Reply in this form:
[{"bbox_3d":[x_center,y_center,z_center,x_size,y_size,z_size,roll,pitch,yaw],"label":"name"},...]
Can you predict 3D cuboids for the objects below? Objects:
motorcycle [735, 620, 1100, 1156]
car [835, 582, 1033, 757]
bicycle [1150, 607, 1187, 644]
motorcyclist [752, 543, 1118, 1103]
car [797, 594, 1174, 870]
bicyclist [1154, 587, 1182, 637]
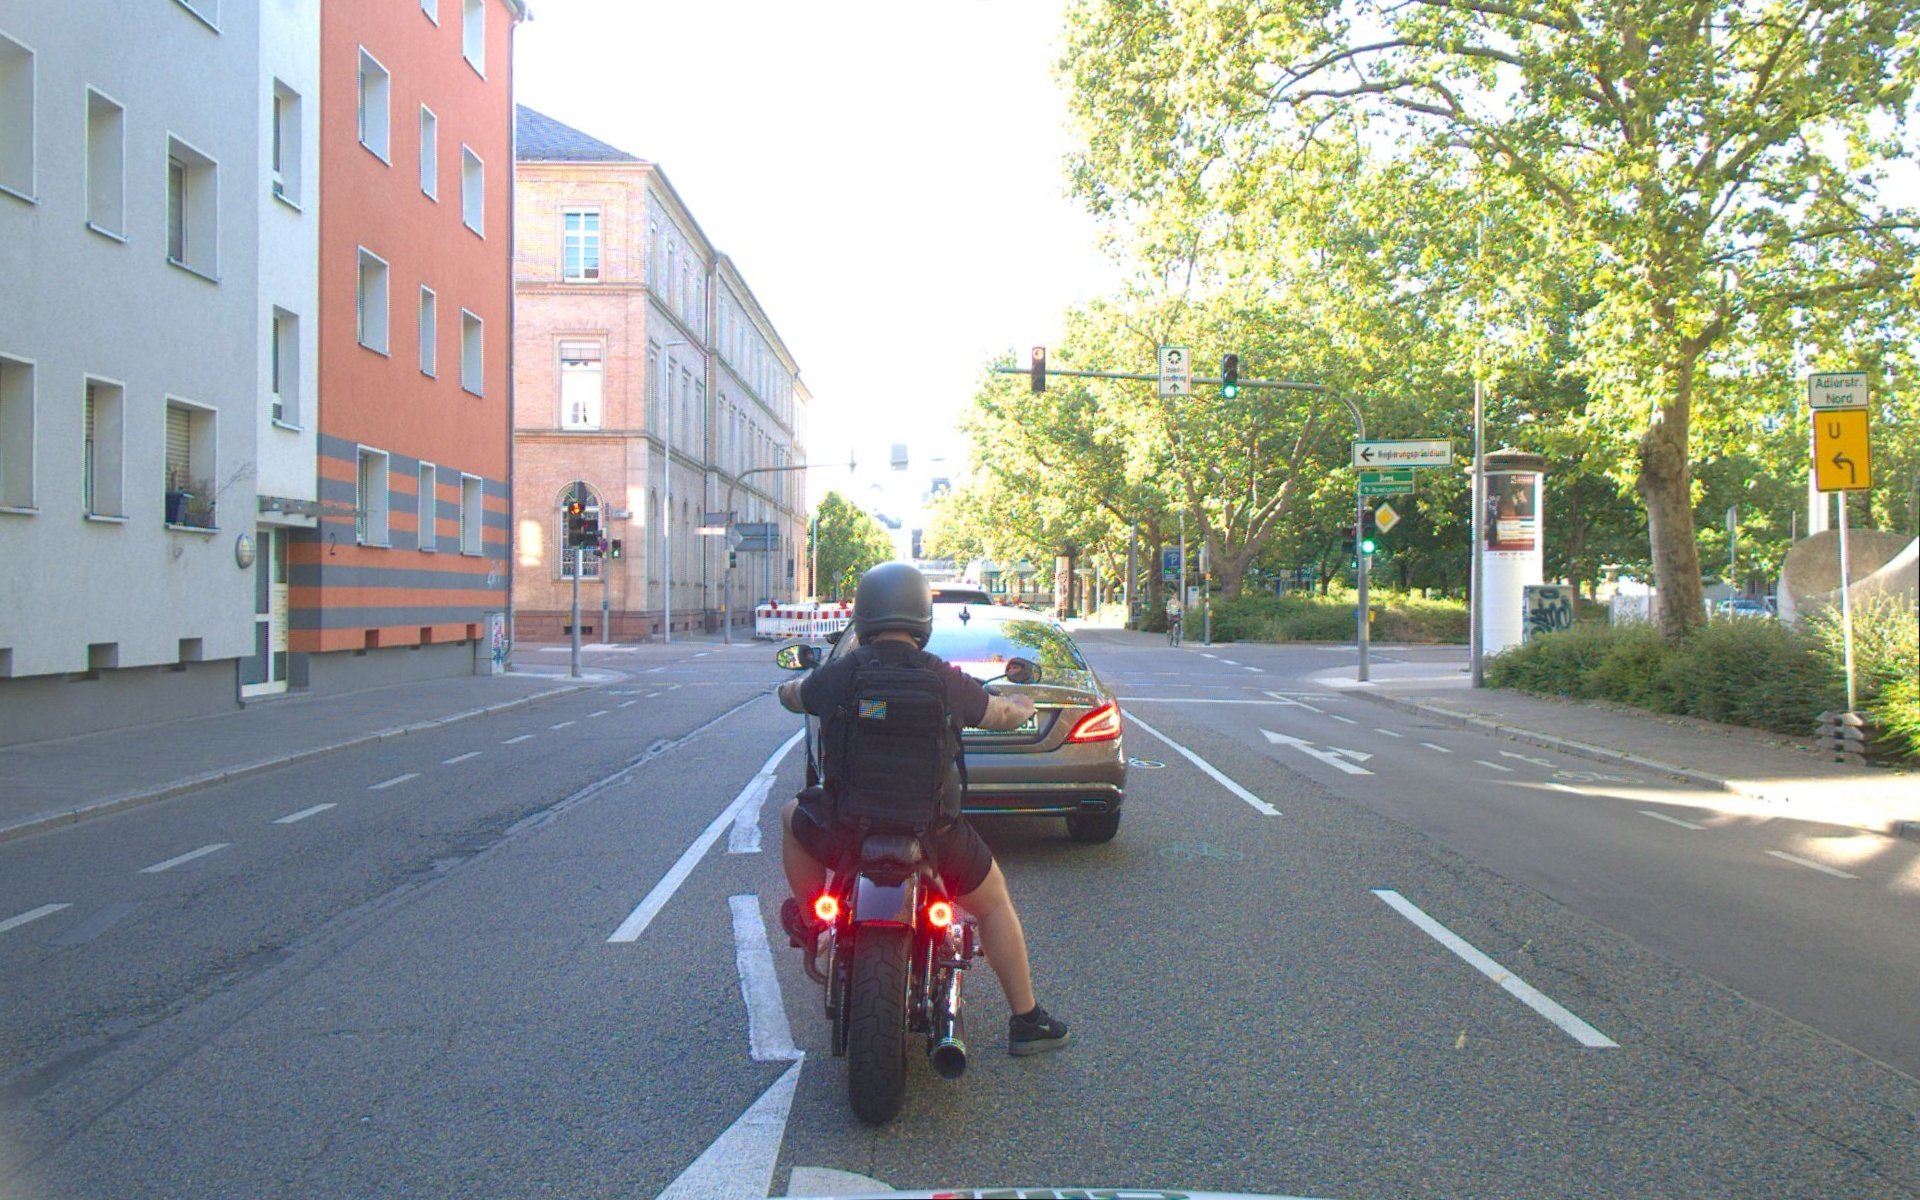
[{"bbox_3d":[-0.127,0.775,5.523,0.942,1.380,2.319,1,0,-1],"label":"motorcycle"},{"bbox_3d":[-0.342,0.609,16.753,1.777,1.563,3.846,0,0,-3],"label":"car"},{"bbox_3d":[6.833,0.826,54.325,0.702,1.193,2.173,1,0,-6],"label":"bicycle"},{"bbox_3d":[-0.077,0.650,5.254,1.039,1.610,0.908,1,0,-1],"label":"motorcyclist"},{"bbox_3d":[-0.052,0.701,11.112,1.867,1.466,4.280,0,0,-9],"label":"car"},{"bbox_3d":[6.842,0.400,54.400,0.702,1.610,0.934,1,0,-7],"label":"bicyclist"}]
